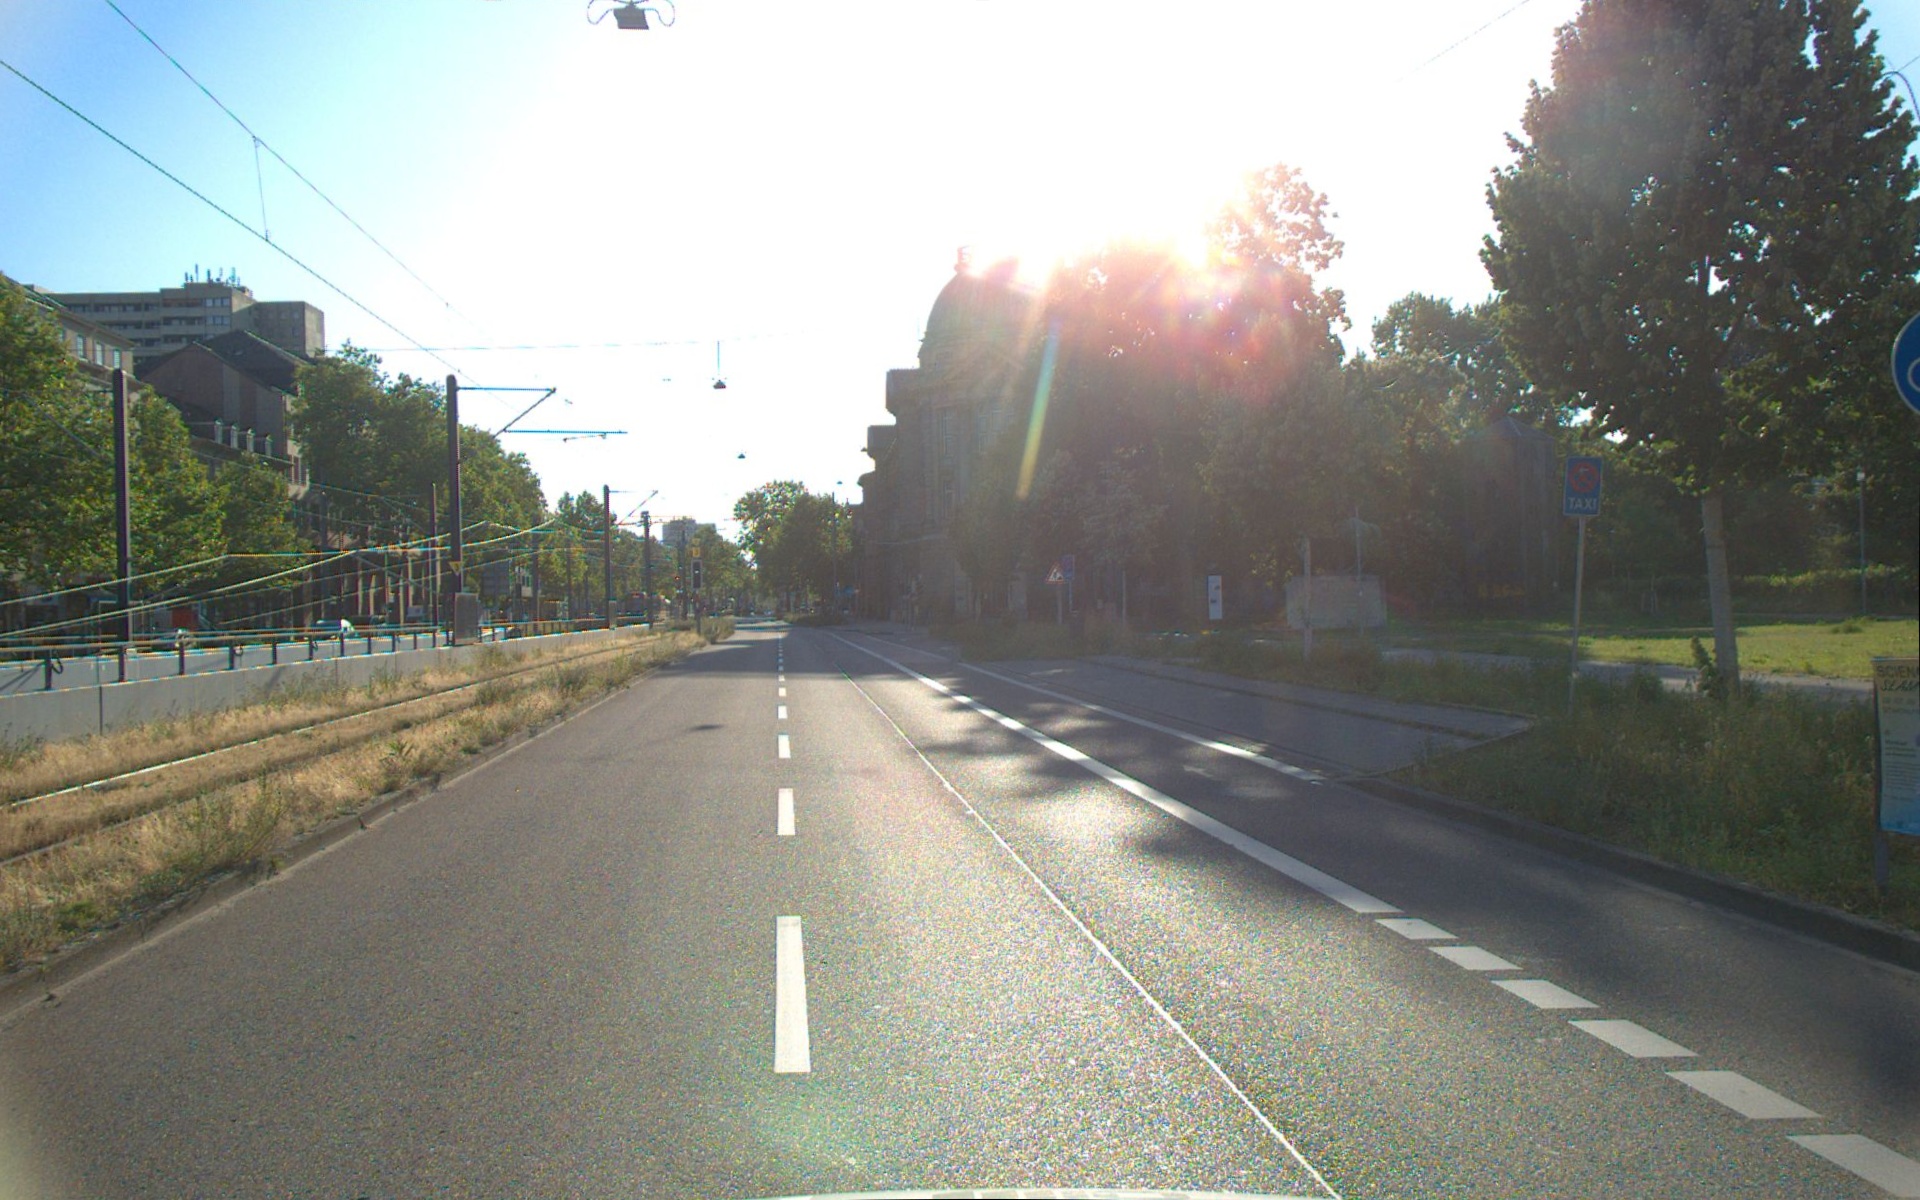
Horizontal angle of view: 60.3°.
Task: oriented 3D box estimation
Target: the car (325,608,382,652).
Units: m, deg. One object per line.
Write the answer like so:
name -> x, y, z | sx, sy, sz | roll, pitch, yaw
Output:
car -> -29.746, 1.440, 81.241 | 1.958, 2.049, 3.989 | -2, 0, -11

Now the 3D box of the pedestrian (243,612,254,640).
pedestrian -> -44.620, 1.614, 103.752 | 0.480, 1.738, 0.549 | -1, 0, -6

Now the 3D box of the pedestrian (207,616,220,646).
pedestrian -> -42.551, 1.765, 94.247 | 0.480, 1.738, 0.549 | -1, 0, -6

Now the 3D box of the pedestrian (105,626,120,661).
pedestrian -> -42.044, 2.159, 82.069 | 0.480, 1.738, 0.549 | -1, 0, -6

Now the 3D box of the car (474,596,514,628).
car -> -31.273, 0.823, 111.007 | 1.956, 2.049, 3.994 | -2, 0, -7

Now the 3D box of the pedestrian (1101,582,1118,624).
pedestrian -> 6.794, 0.142, 75.274 | 0.670, 1.854, 0.535 | -1, 0, -1

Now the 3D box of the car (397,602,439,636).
car -> -38.079, 1.306, 116.222 | 1.955, 2.284, 3.994 | -1, 0, -6
